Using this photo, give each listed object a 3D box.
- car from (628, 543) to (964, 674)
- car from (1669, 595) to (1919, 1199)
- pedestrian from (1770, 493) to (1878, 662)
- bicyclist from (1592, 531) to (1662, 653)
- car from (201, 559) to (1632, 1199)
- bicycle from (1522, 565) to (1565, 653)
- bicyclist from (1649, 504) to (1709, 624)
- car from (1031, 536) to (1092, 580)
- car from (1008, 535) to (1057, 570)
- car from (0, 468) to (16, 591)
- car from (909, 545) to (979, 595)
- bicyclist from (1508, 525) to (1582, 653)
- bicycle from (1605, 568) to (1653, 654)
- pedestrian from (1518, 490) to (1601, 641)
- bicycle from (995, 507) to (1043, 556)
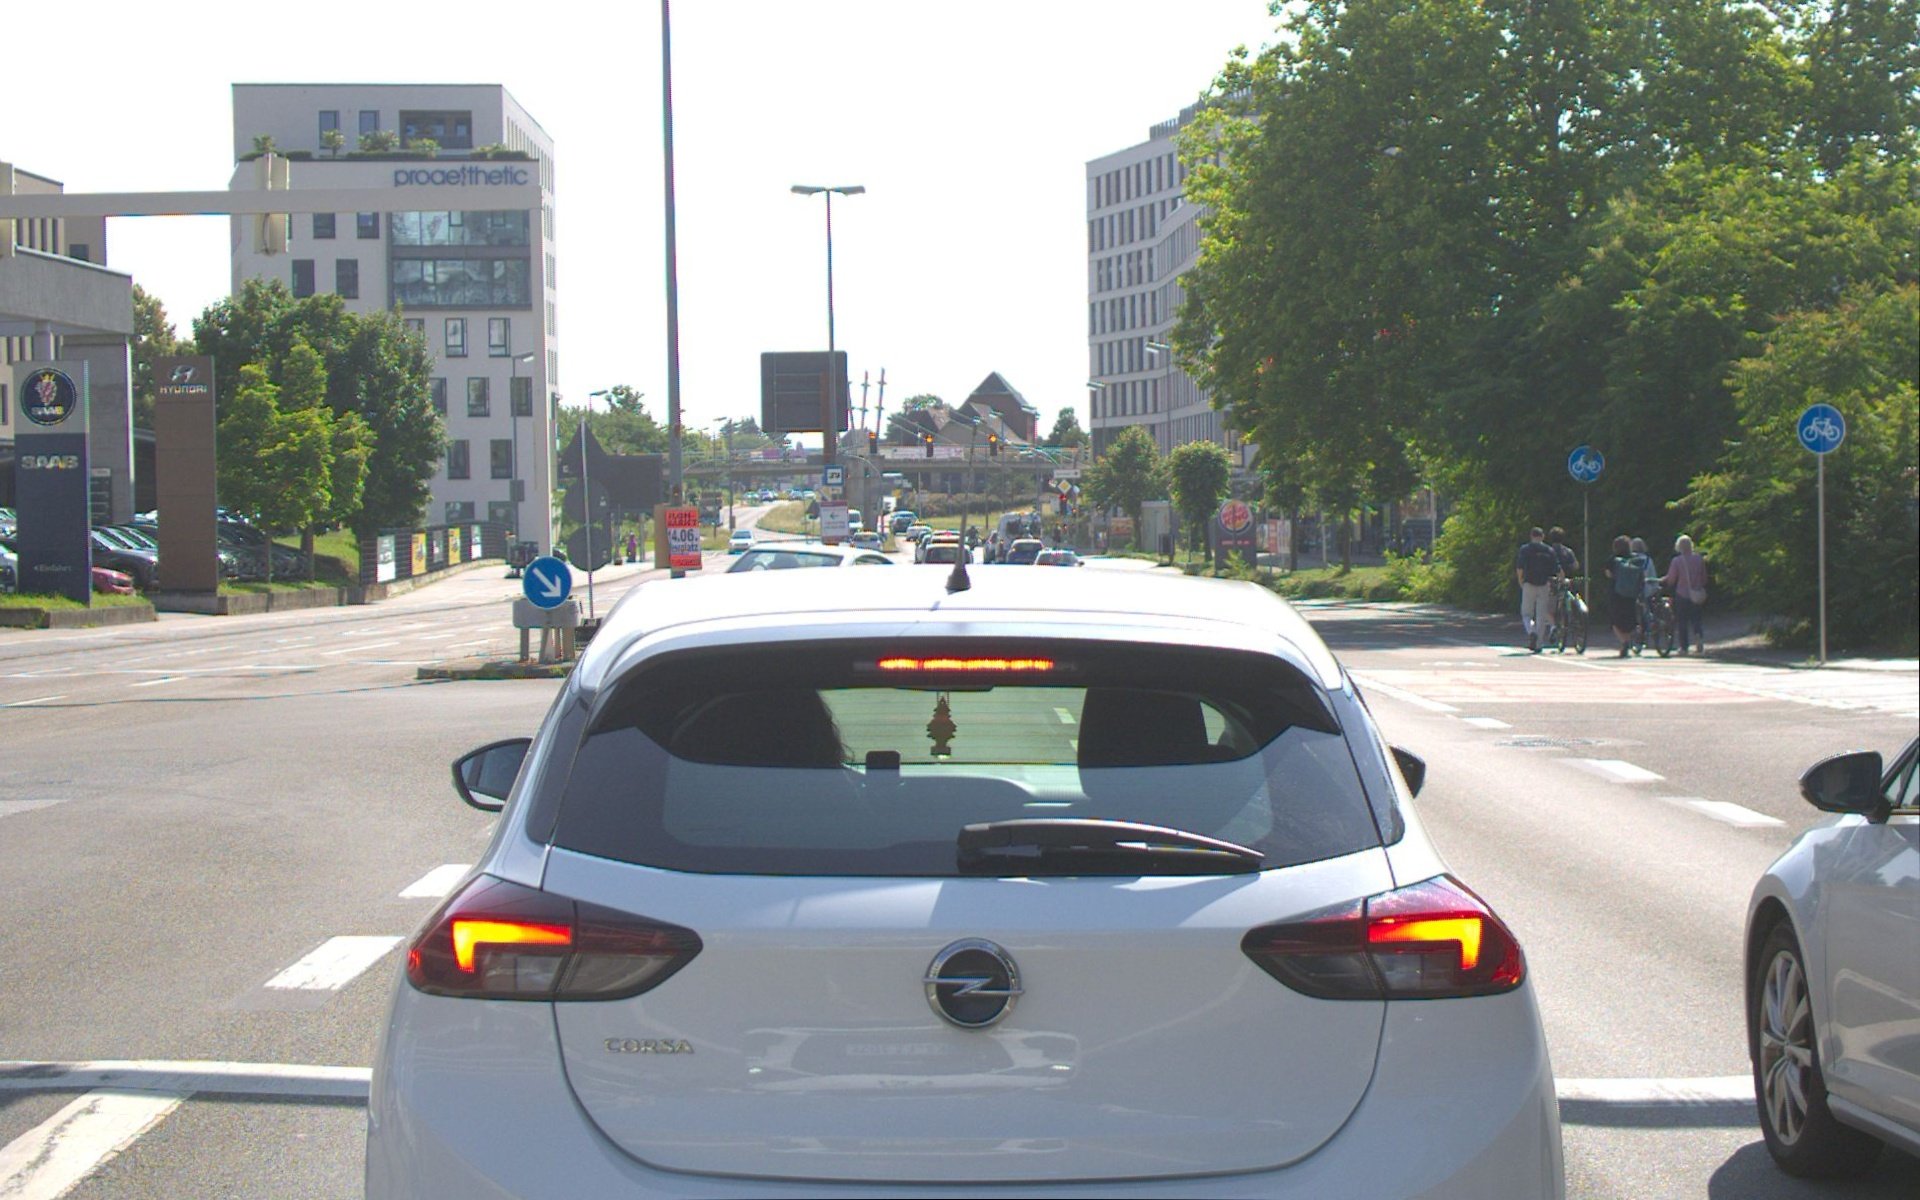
[{"bbox_3d":[-1.724,0.085,37.560,1.996,1.327,3.994,1,0,26],"label":"car"},{"bbox_3d":[2.834,0.713,6.876,1.807,1.424,4.000,-1,1,-3],"label":"car"},{"bbox_3d":[10.471,-0.281,41.709,1.027,2.007,1.039,-1,1,-1],"label":"pedestrian"},{"bbox_3d":[9.028,-0.114,46.533,0.688,1.637,0.777,-1,1,-9],"label":"bicyclist"},{"bbox_3d":[-0.076,0.690,6.299,1.779,1.489,4.000,-1,1,-1],"label":"car"},{"bbox_3d":[8.186,0.119,48.247,0.372,1.212,1.154,1,1,-1],"label":"bicycle"},{"bbox_3d":[9.875,-0.490,47.227,0.652,1.631,0.659,1,0,0],"label":"bicyclist"},{"bbox_3d":[3.335,-1.379,113.479,1.806,1.381,4.000,1,0,-1],"label":"car"},{"bbox_3d":[2.905,-1.906,138.574,1.806,1.381,4.000,1,0,-1],"label":"car"},{"bbox_3d":[-22.556,-1.473,73.050,4.357,2.592,2.000,-1,1,5],"label":"car"},{"bbox_3d":[-0.487,-0.855,98.789,1.806,1.381,4.000,1,0,-3],"label":"car"},{"bbox_3d":[8.208,-0.160,48.248,0.879,1.766,0.864,-1,1,0],"label":"bicyclist"},{"bbox_3d":[9.041,0.144,46.478,0.373,1.143,1.034,1,0,-3],"label":"bicycle"},{"bbox_3d":[8.989,-0.518,51.562,1.027,2.231,1.039,-1,1,-1],"label":"pedestrian"},{"bbox_3d":[2.663,-3.106,155.358,1.993,2.150,4.000,-1,1,-1],"label":"bicycle"}]
